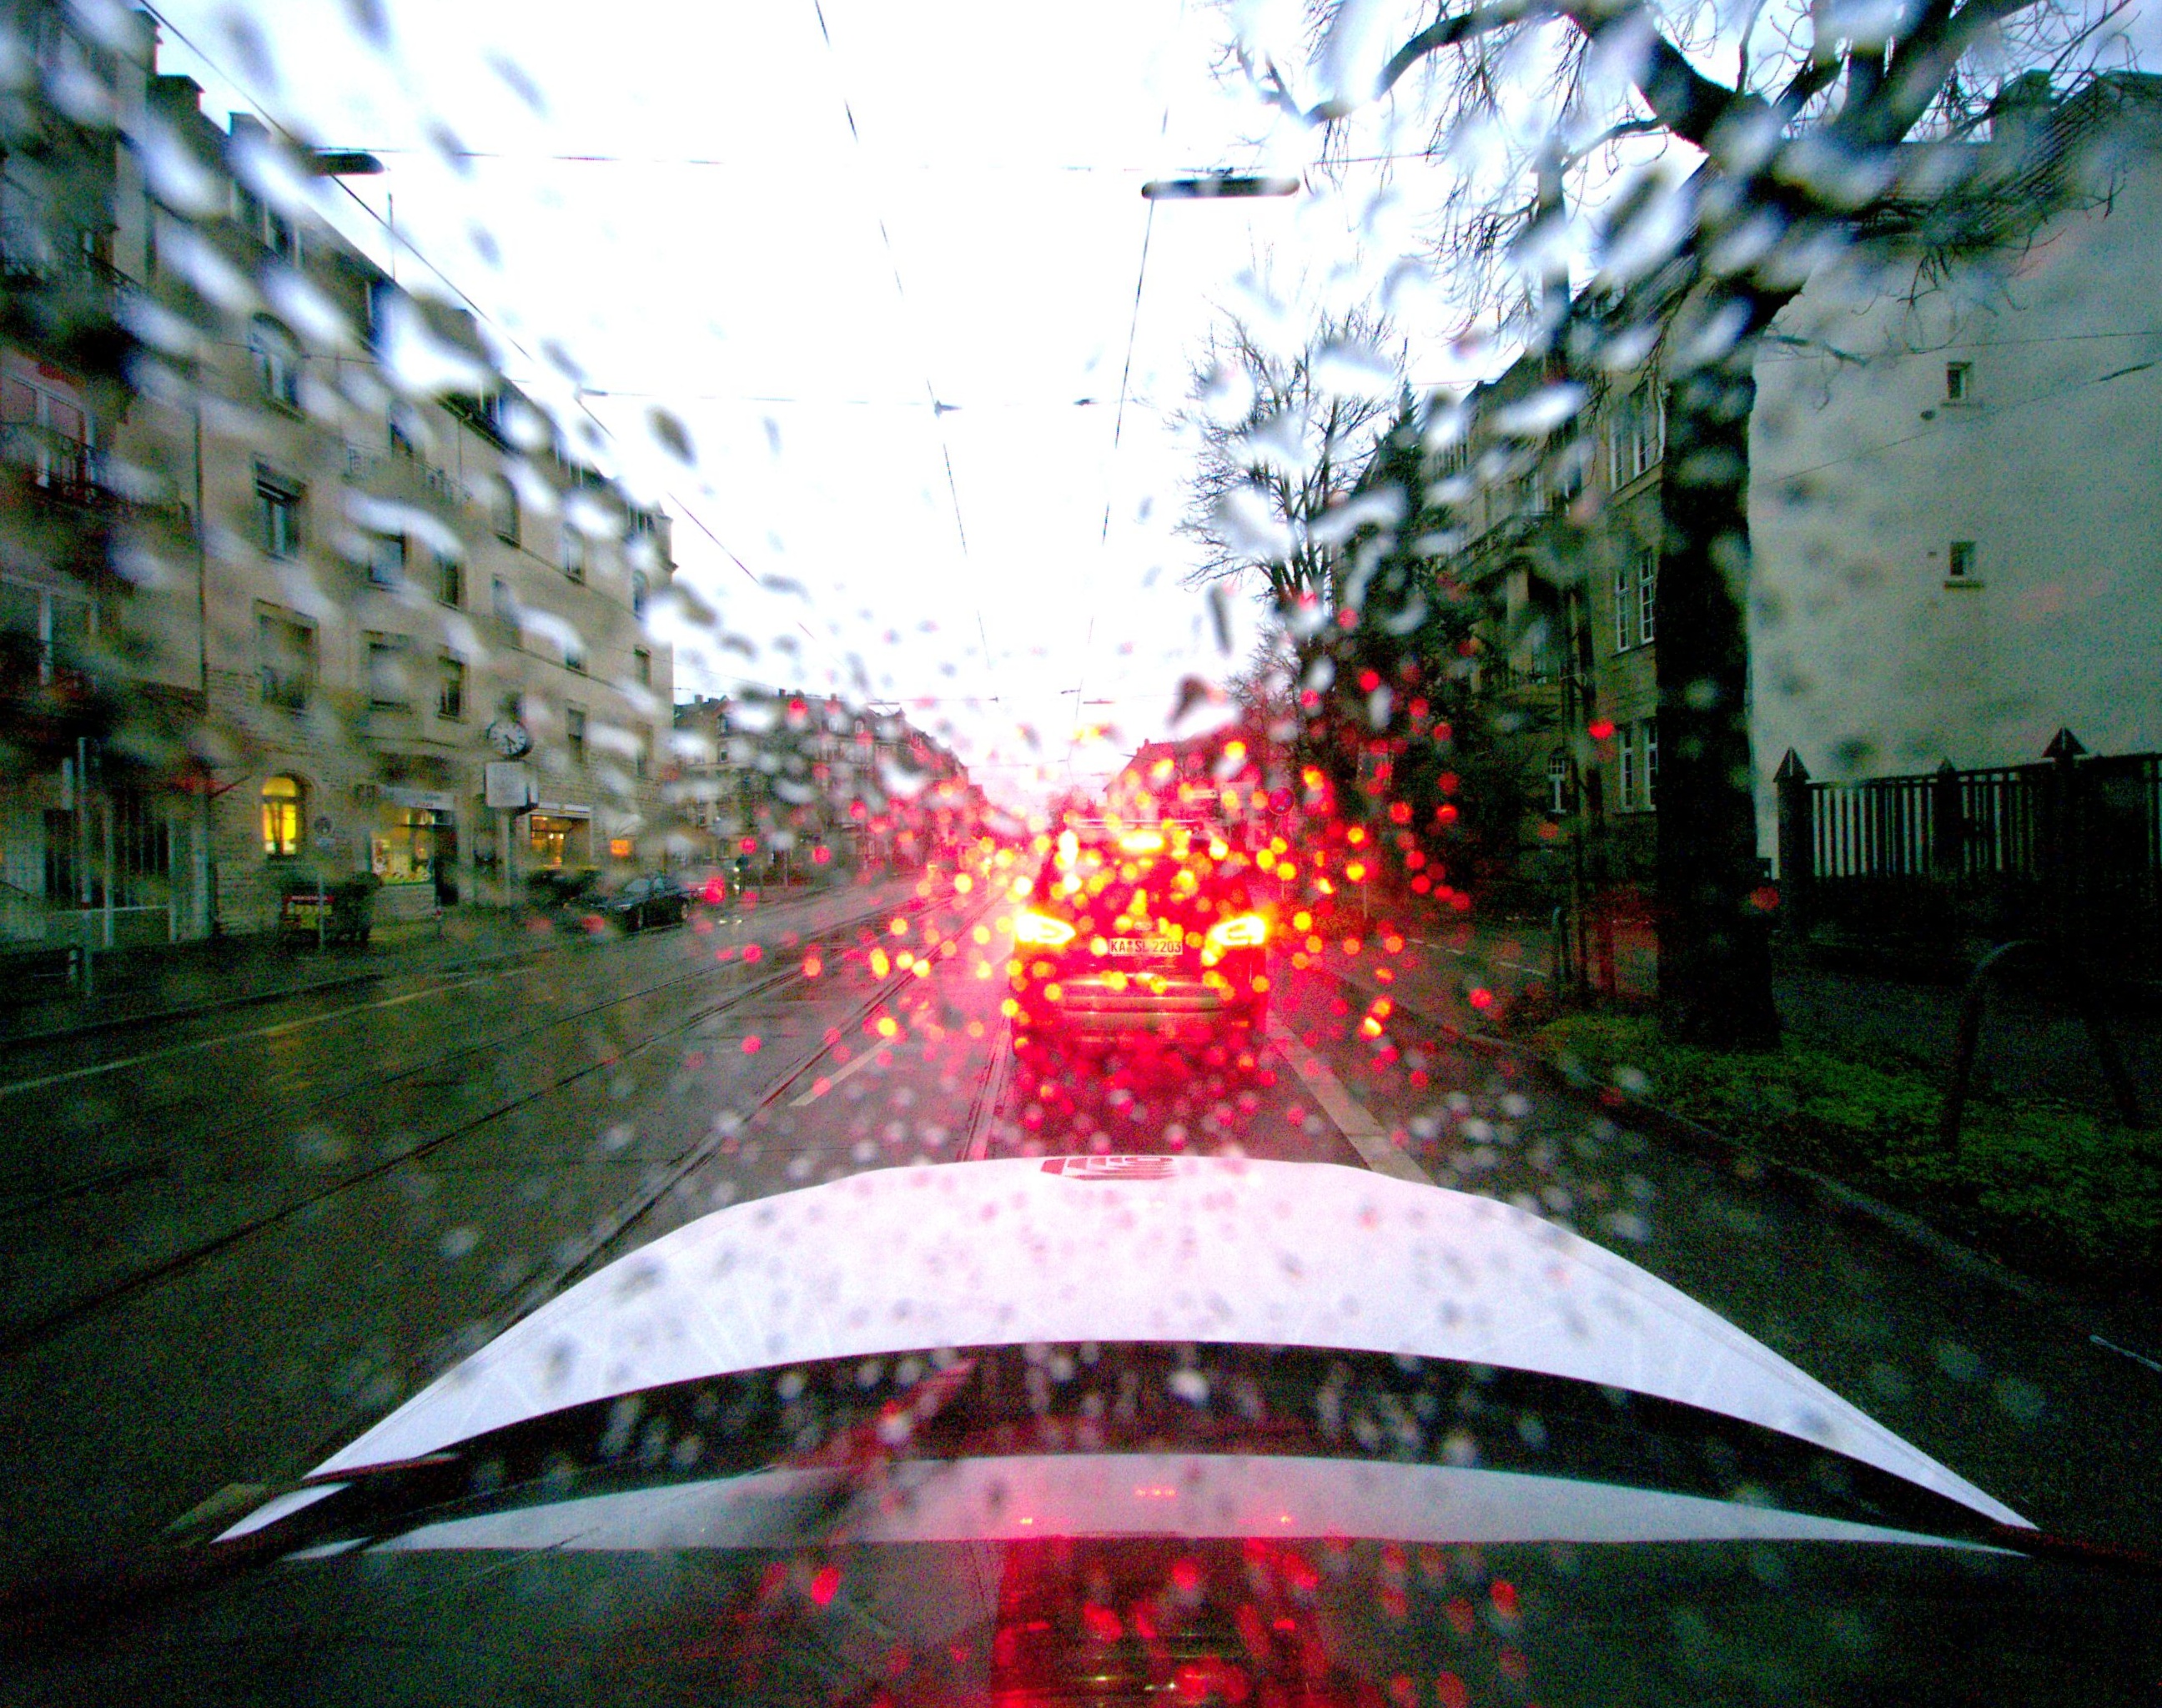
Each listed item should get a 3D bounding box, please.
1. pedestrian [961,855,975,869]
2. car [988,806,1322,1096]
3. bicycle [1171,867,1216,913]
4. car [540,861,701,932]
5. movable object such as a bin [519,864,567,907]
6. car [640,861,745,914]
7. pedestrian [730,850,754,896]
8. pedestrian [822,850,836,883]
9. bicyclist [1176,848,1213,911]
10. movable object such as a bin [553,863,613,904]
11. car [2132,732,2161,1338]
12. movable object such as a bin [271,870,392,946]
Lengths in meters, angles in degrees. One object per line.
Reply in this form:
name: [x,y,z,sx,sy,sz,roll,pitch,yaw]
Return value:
pedestrian: [-9.483,0.675,68.468,1.044,1.200,0.884,-1,-1,-1]
car: [0.484,0.605,7.464,2.097,1.816,4.660,0,0,0]
bicycle: [3.048,0.959,22.250,0.716,1.112,1.937,3,0,-6]
car: [-12.480,1.088,22.509,1.982,1.645,4.623,3,-1,-4]
movable object such as a bin: [-17.855,1.027,27.051,0.896,1.377,1.006,-1,0,-2]
car: [-13.368,1.114,28.329,2.035,1.551,4.022,2,0,-7]
pedestrian: [-14.981,0.835,35.973,0.748,2.014,0.652,-1,-1,34]
pedestrian: [-15.648,0.751,50.540,0.707,2.013,0.656,-1,0,-21]
bicyclist: [3.067,0.681,22.139,0.716,1.662,1.054,2,0,-6]
movable object such as a bin: [-17.354,1.020,28.408,1.290,1.367,1.251,-1,0,-2]
car: [4.416,0.536,0.122,2.025,1.875,4.959,-2,0,-2]
movable object such as a bin: [-15.065,1.065,16.421,1.264,1.420,1.249,-1,0,-2]
